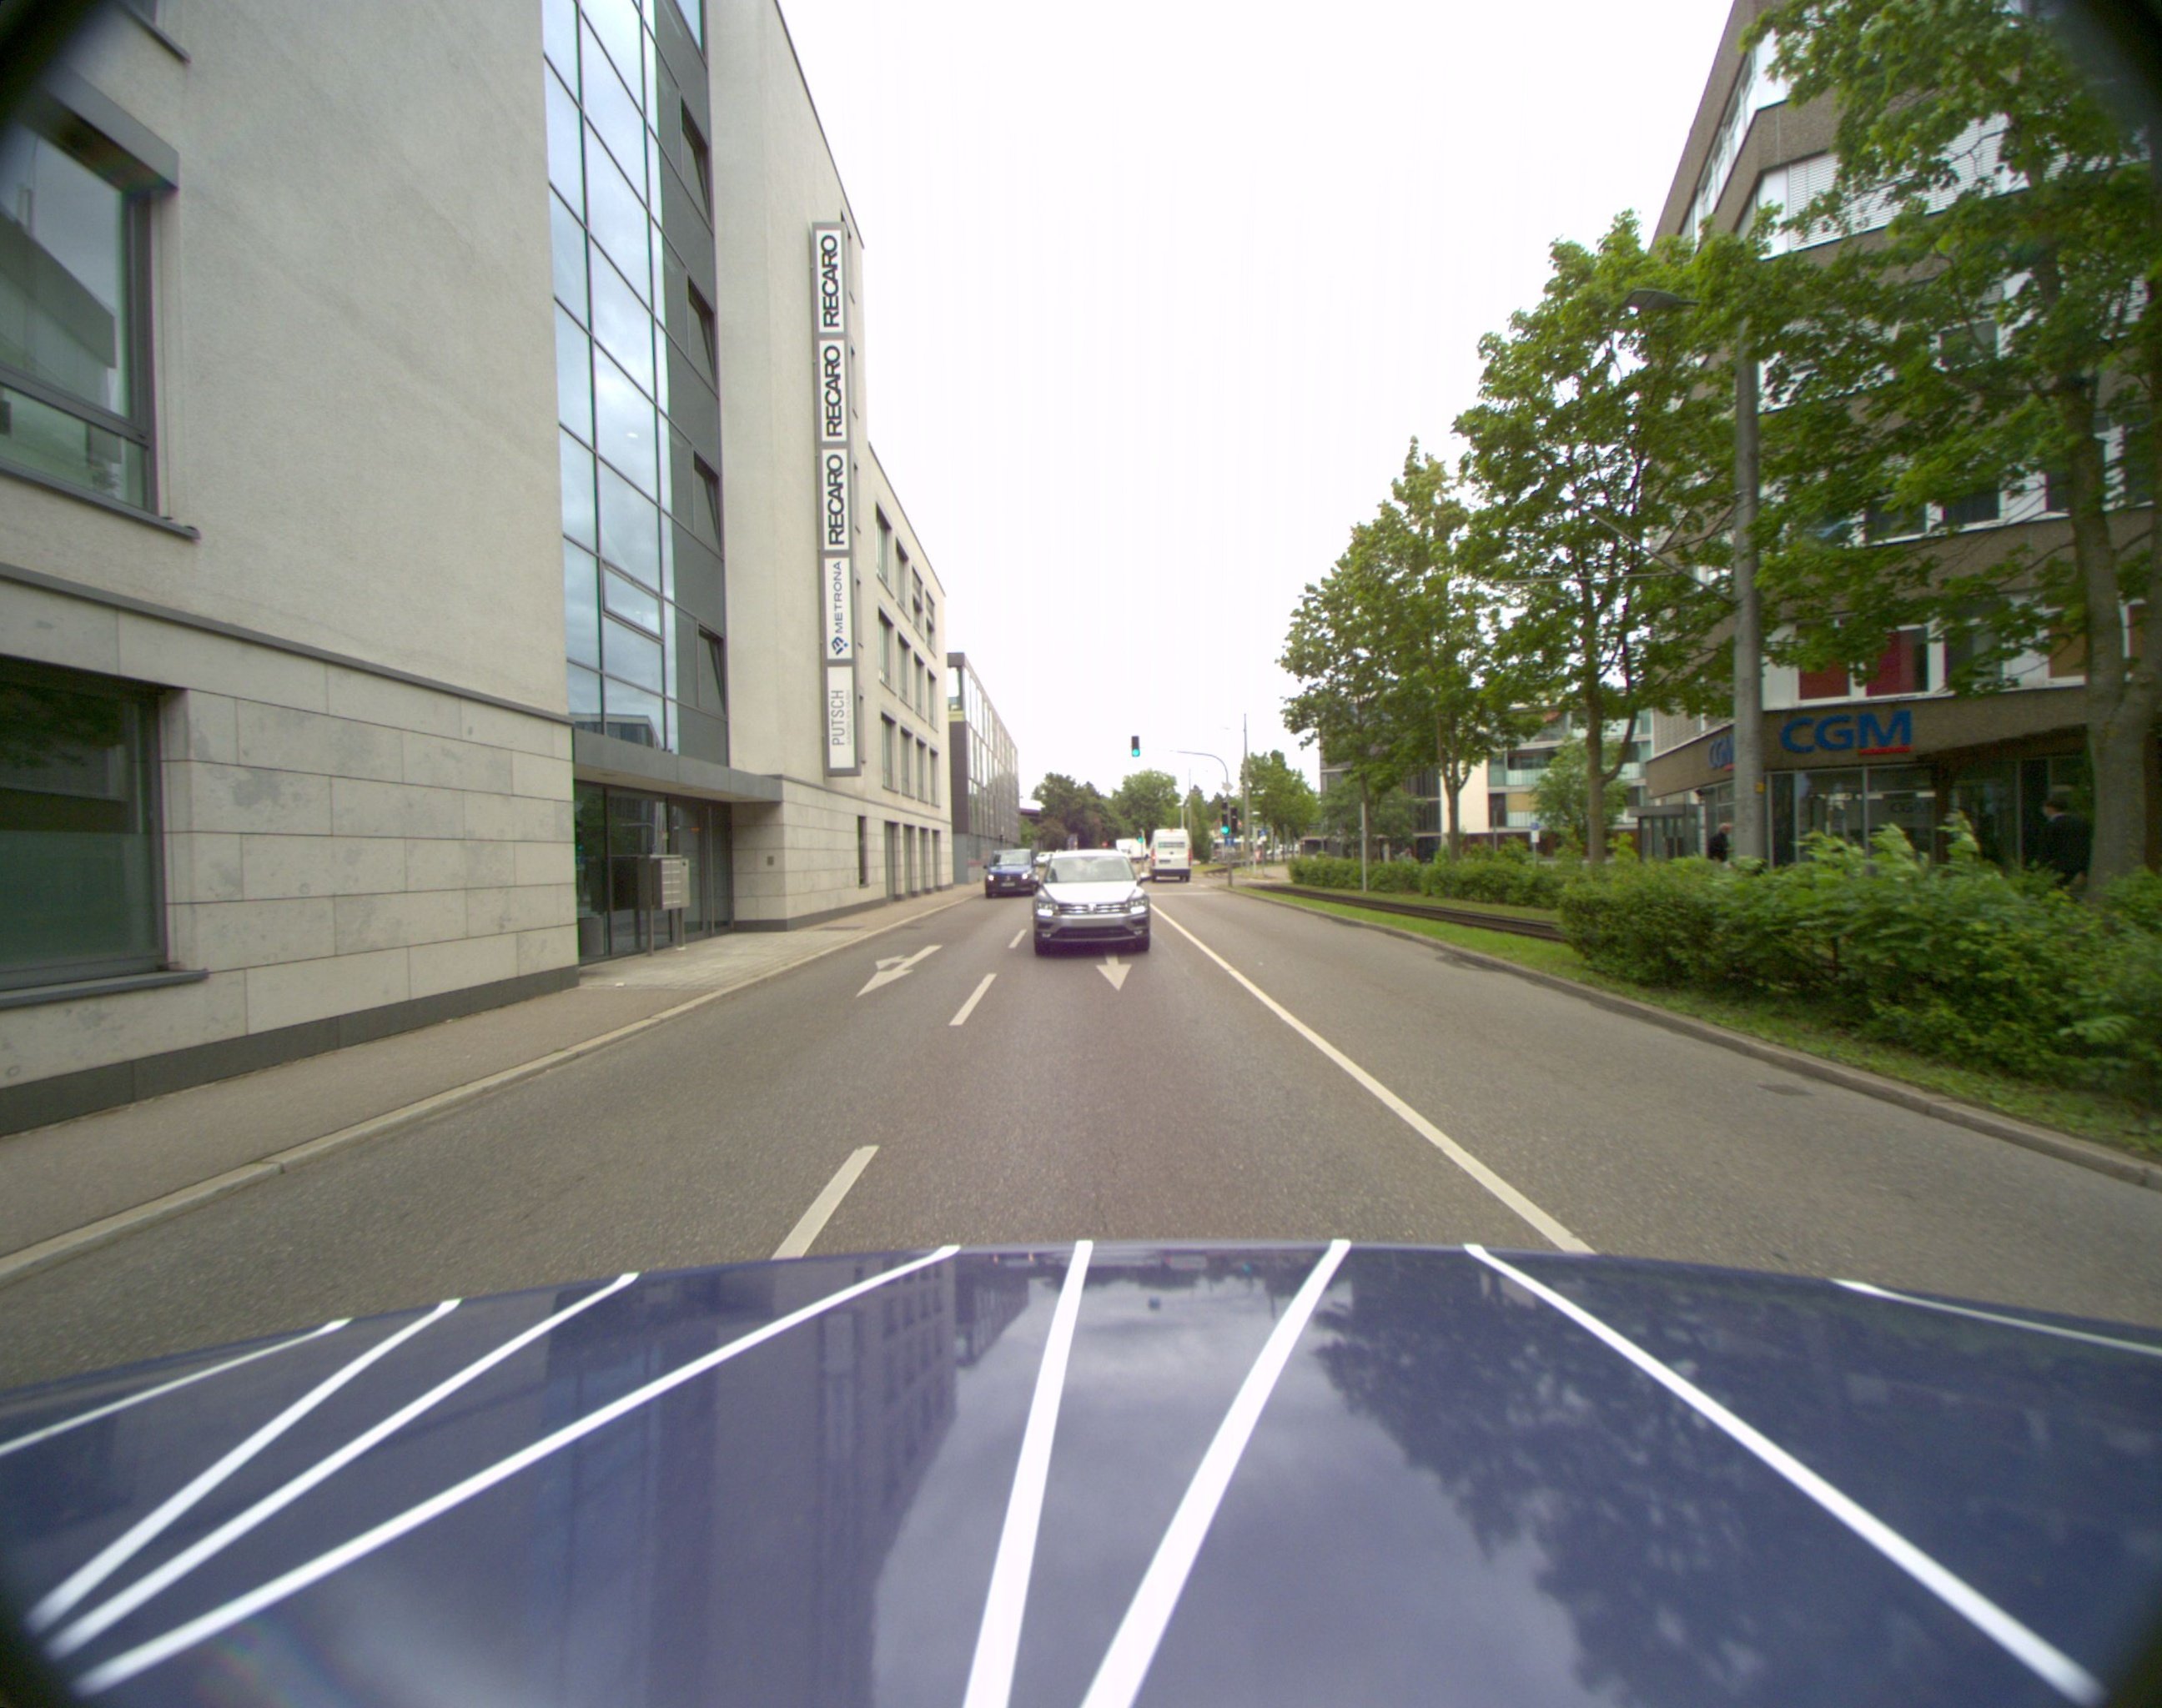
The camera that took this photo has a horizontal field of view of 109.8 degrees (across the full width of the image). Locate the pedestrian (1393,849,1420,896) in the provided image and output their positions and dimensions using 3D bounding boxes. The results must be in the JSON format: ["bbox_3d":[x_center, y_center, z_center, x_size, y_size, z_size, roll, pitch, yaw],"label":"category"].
[{"bbox_3d":[12.884,0.732,30.060,0.680,1.795,0.731,-2,1,-4],"label":"pedestrian"}]

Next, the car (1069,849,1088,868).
[{"bbox_3d":[-0.262,0.479,84.922,1.998,2.002,3.999,-2,1,1],"label":"car"}]

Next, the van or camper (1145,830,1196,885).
[{"bbox_3d":[4.846,0.115,41.997,2.112,2.718,6.151,-2,1,2],"label":"van or camper"}]

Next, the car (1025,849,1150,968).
[{"bbox_3d":[0.106,0.793,13.427,1.798,1.716,4.458,-2,0,0],"label":"car"}]

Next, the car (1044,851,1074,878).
[{"bbox_3d":[-1.568,0.753,55.850,1.998,1.805,3.999,-2,1,1],"label":"car"}]

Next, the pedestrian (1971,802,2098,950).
[{"bbox_3d":[13.009,0.286,10.388,0.816,1.913,0.731,-2,1,0],"label":"pedestrian"}]

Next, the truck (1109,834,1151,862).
[{"bbox_3d":[6.952,-0.916,106.194,2.317,3.626,8.023,-2,1,30],"label":"truck"}]

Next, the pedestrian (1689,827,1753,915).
[{"bbox_3d":[14.207,0.358,16.881,0.776,1.883,0.731,-2,1,-1],"label":"pedestrian"}]

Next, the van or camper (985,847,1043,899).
[{"bbox_3d":[-2.652,0.711,31.186,1.864,1.900,5.031,-2,0,0],"label":"van or camper"}]
